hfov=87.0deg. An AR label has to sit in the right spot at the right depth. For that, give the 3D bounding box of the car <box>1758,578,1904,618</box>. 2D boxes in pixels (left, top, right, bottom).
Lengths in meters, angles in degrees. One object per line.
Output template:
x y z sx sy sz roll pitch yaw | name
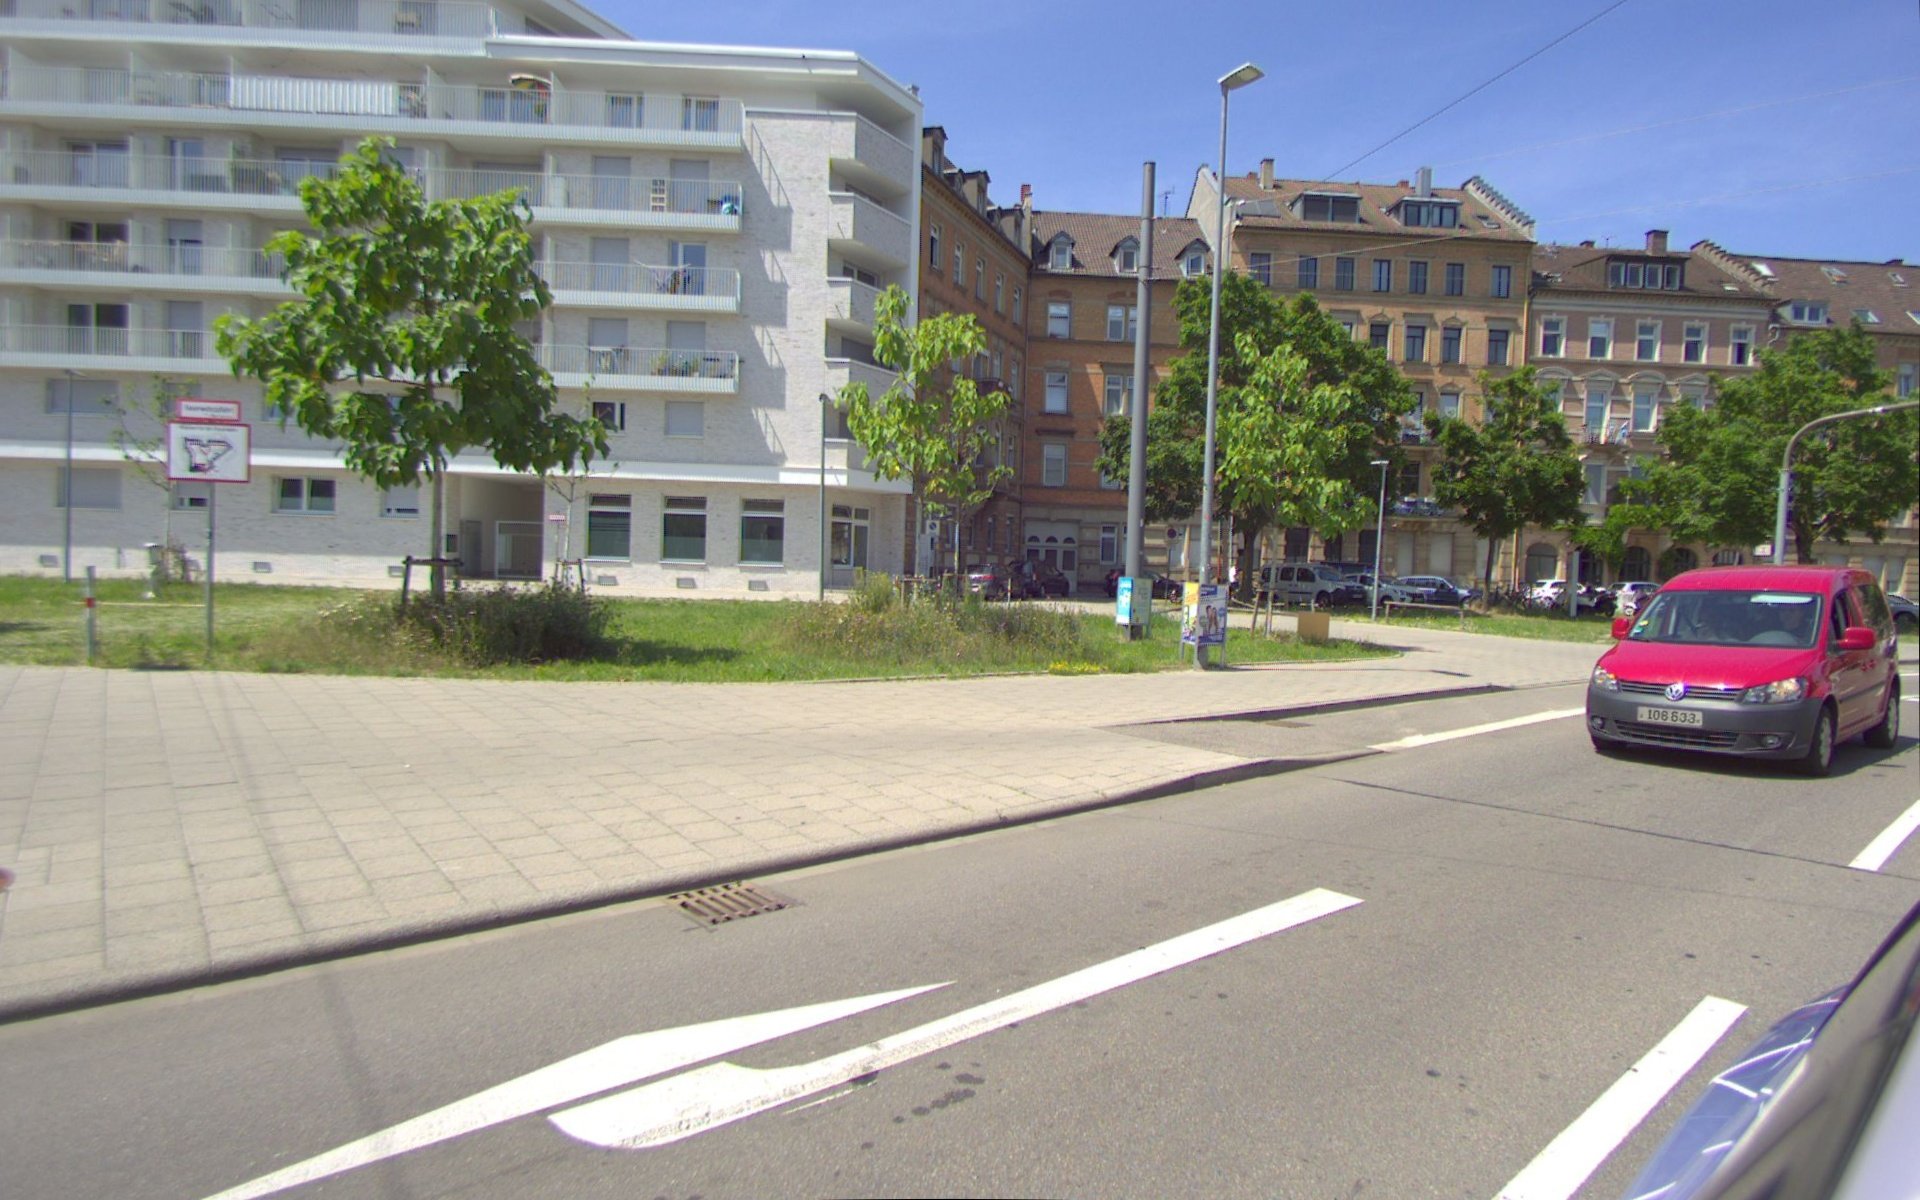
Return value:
35.032 -0.091 40.809 1.761 1.488 4.098 1 1 -29 | car

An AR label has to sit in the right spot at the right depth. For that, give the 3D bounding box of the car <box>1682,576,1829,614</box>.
31.720 -0.218 40.503 1.550 1.393 4.355 1 1 -27 | car

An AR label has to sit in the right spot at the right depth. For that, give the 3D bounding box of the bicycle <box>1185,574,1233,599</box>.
9.837 -0.545 40.018 0.498 0.947 2.052 1 1 -32 | bicycle

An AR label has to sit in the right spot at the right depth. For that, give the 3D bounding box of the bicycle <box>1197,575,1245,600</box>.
10.356 -0.514 40.284 0.498 0.947 2.052 1 1 -32 | bicycle

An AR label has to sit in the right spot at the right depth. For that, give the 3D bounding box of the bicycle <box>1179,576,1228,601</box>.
9.454 -0.452 39.385 0.498 0.947 2.052 1 1 -32 | bicycle

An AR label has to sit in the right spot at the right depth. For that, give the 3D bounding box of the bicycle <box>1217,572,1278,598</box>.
11.541 -0.617 40.714 0.500 0.947 2.421 0 2 -44 | bicycle

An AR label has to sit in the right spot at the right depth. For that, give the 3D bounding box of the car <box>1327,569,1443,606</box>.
16.730 -0.525 40.007 1.723 1.349 4.006 1 1 -29 | car

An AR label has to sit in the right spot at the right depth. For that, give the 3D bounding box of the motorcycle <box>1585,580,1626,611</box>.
24.112 -0.166 37.814 0.468 1.134 1.526 2 1 -2 | motorcycle

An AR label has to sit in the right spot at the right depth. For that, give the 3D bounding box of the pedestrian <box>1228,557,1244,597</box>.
13.175 -1.097 48.345 0.591 1.842 0.453 2 0 -2 | pedestrian

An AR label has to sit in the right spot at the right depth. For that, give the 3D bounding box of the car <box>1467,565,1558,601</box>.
23.189 -0.710 42.629 1.923 1.393 3.994 2 1 6 | car

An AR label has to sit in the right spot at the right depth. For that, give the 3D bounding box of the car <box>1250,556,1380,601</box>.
13.879 -0.851 39.869 1.799 1.621 4.881 1 1 -29 | car

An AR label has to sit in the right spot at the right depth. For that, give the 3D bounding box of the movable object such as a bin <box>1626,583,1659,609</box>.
26.165 -0.165 38.818 0.690 0.949 0.986 2 0 9 | movable object such as a bin

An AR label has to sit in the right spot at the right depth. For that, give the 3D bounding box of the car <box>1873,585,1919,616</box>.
47.273 0.052 49.498 3.643 1.438 1.786 2 1 -2 | car

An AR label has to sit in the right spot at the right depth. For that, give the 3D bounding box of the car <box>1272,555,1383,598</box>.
17.713 -1.132 48.878 4.564 1.927 1.926 2 0 -1 | car

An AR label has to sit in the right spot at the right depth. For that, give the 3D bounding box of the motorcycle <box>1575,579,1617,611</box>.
26.113 -0.206 41.605 0.800 1.251 2.077 2 1 13 | motorcycle

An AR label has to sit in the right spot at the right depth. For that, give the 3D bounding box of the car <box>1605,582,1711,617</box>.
34.121 -0.046 49.519 3.921 1.549 1.844 2 1 -4 | car

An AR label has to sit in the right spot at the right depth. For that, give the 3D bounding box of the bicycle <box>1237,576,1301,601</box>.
11.983 -0.455 39.357 0.500 0.947 2.421 1 1 -44 | bicycle

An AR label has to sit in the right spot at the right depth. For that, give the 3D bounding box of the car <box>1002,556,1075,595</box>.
3.498 -1.051 44.496 1.760 1.548 4.043 2 1 27 | car

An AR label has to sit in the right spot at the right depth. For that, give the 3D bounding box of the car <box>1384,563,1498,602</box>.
19.122 -0.711 40.416 1.575 1.450 3.873 1 1 -30 | car

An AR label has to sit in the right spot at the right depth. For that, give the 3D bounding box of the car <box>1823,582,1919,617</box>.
37.575 -0.016 40.617 1.931 1.330 4.008 1 1 -23 | car

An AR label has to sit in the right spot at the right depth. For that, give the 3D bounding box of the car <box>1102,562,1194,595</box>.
8.923 -1.015 48.247 3.921 1.438 1.779 2 1 -3 | car

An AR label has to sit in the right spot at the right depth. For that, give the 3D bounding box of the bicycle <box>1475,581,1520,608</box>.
19.672 -0.213 37.051 1.353 0.959 0.473 2 0 19 | bicycle

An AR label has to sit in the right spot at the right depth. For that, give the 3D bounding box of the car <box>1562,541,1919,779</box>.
8.196 0.482 10.166 5.069 1.857 1.860 1 1 -37 | car

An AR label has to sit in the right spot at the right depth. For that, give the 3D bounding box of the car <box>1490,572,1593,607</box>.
28.282 -0.520 49.301 3.924 1.549 1.842 2 1 0 | car

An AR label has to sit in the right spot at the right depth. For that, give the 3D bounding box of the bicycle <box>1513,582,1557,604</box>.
22.307 -0.269 39.285 1.445 0.815 0.493 2 1 33 | bicycle

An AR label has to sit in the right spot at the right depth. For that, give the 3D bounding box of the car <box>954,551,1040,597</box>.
1.477 -0.952 38.638 1.679 1.645 4.091 2 1 27 | car

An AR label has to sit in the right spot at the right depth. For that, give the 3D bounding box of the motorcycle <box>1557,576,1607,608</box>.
23.162 -0.313 37.721 0.517 1.134 1.831 1 1 -9 | motorcycle
